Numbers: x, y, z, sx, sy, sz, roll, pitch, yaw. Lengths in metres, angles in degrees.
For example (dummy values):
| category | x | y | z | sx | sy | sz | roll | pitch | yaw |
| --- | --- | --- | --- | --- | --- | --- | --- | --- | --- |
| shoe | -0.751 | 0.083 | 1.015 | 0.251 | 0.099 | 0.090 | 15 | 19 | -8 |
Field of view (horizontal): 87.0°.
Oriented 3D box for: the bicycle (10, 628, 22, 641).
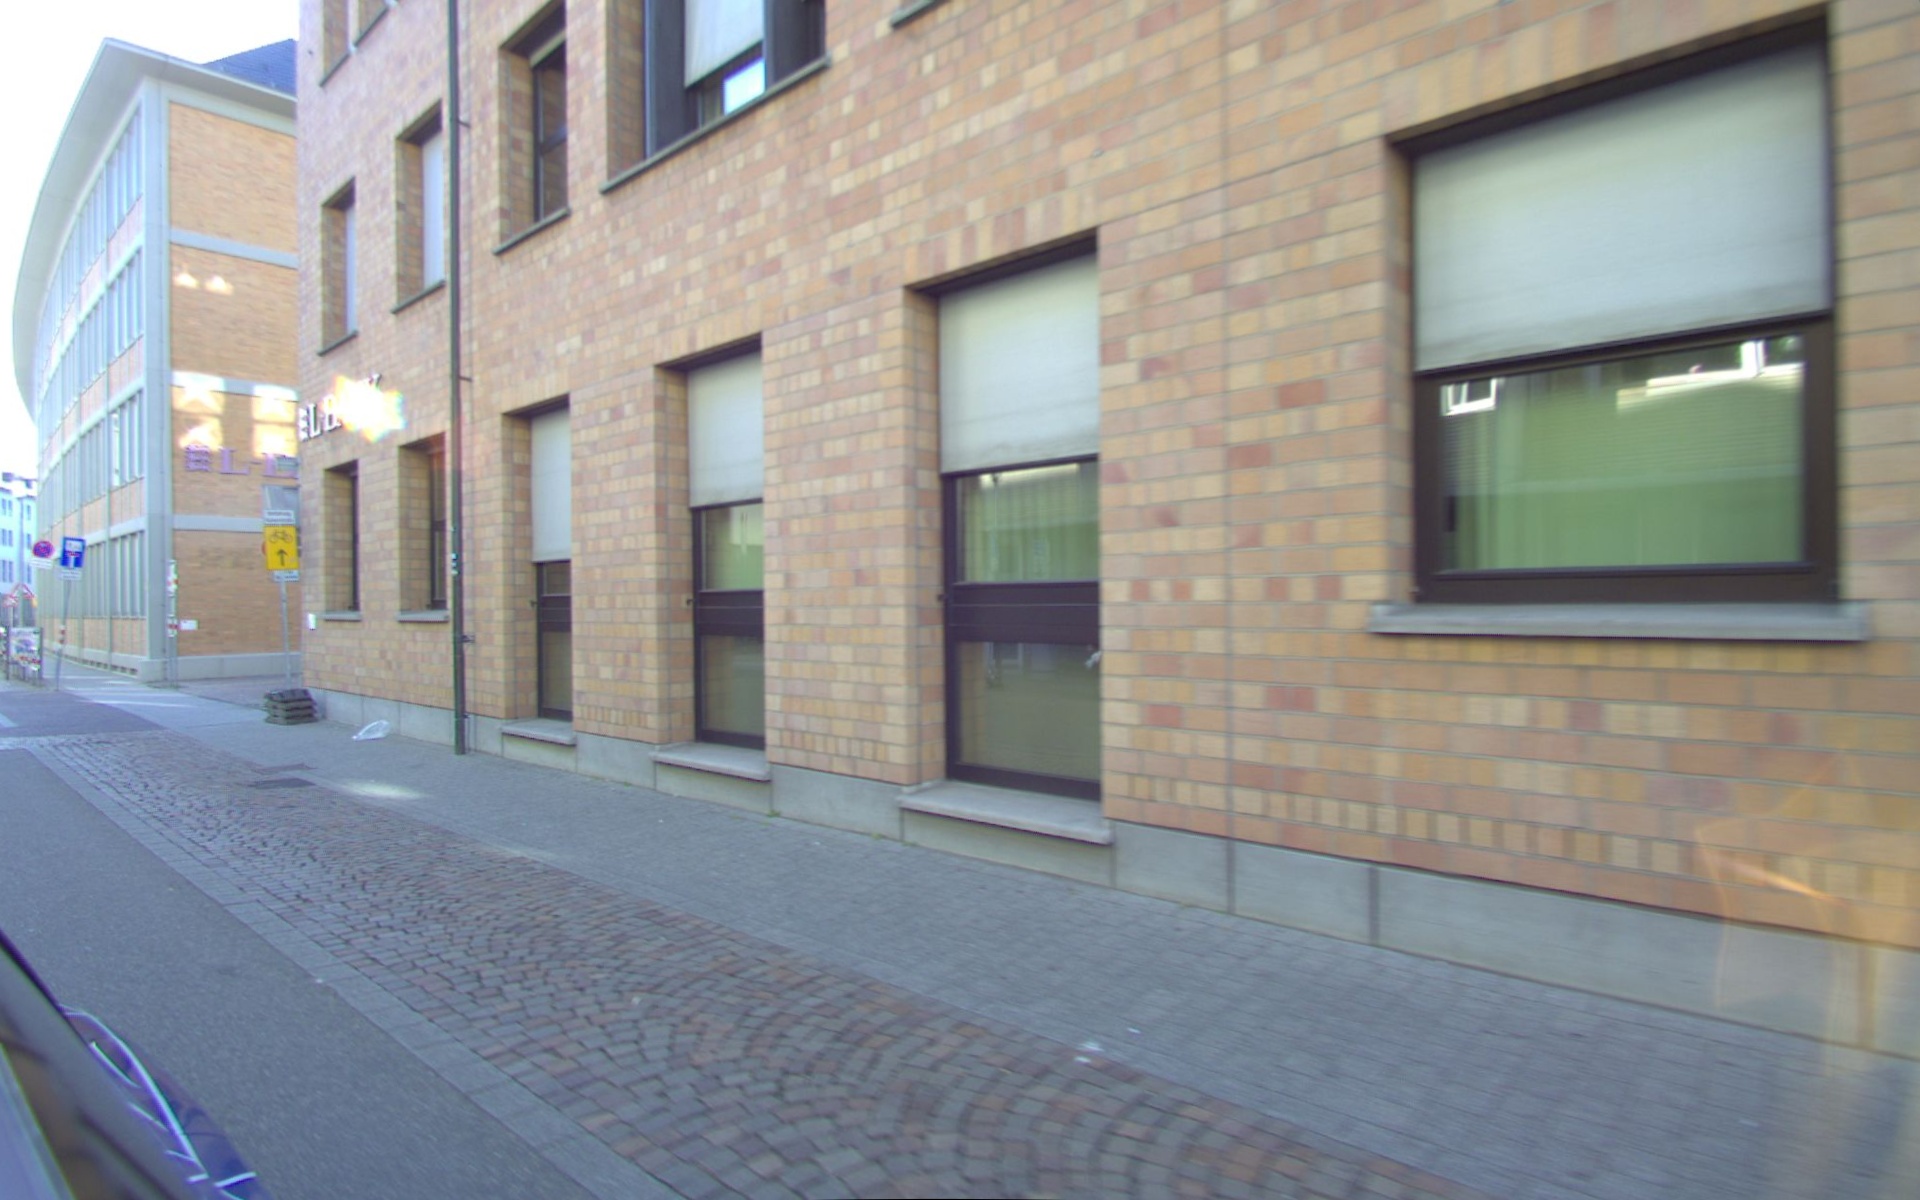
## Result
| category | x | y | z | sx | sy | sz | roll | pitch | yaw |
| --- | --- | --- | --- | --- | --- | --- | --- | --- | --- |
| bicycle | -75.105 | 2.723 | 80.537 | 0.614 | 0.968 | 1.722 | -1 | 0 | -41 |

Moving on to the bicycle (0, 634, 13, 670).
| category | x | y | z | sx | sy | sz | roll | pitch | yaw |
| --- | --- | --- | --- | --- | --- | --- | --- | --- | --- |
| bicycle | -29.262 | 1.564 | 30.586 | 1.819 | 1.062 | 0.620 | -1 | 0 | 36 |

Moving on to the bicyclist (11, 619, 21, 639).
| category | x | y | z | sx | sy | sz | roll | pitch | yaw |
| --- | --- | --- | --- | --- | --- | --- | --- | --- | --- |
| bicyclist | -75.222 | 2.331 | 80.645 | 0.572 | 1.586 | 0.693 | -1 | -1 | -41 |
